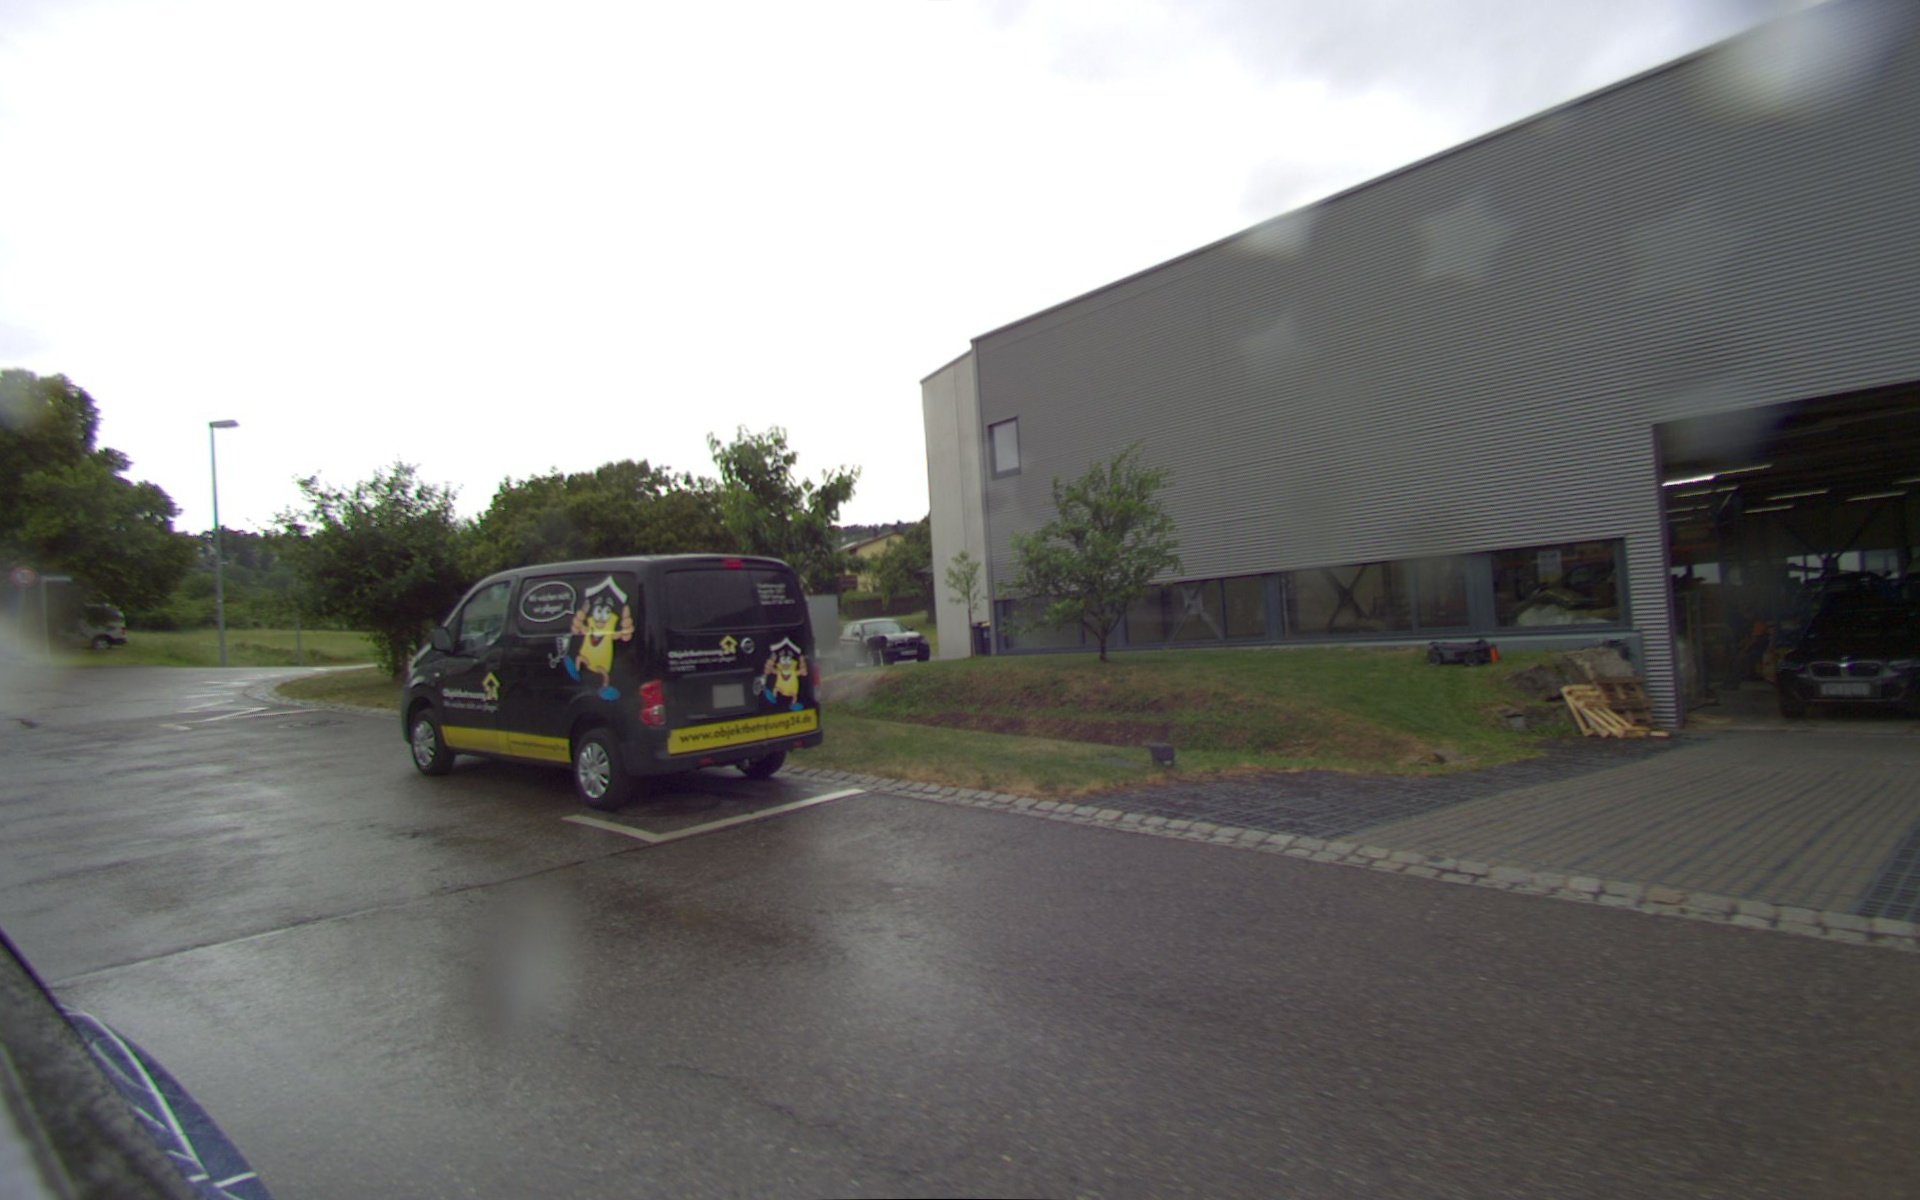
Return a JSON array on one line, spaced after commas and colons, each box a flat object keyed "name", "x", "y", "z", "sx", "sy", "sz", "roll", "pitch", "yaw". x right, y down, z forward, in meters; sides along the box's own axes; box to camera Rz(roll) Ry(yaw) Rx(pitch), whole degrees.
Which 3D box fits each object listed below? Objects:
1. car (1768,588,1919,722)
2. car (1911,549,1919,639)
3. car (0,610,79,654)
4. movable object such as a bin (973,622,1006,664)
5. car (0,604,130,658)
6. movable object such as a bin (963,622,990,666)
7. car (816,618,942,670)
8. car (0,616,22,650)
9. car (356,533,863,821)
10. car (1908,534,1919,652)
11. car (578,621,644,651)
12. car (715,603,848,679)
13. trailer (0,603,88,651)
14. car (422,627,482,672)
[{"name": "car", "x": 14.119, "y": 0.748, "z": 15.404, "sx": 4.157, "sy": 1.786, "sz": 1.937, "roll": -1, "pitch": -3, "yaw": -40}, {"name": "car", "x": 27.724, "y": -0.085, "z": 27.331, "sx": 4.153, "sy": 2.763, "sz": 1.848, "roll": -2, "pitch": -3, "yaw": -33}, {"name": "car", "x": -38.544, "y": 1.297, "z": 40.868, "sx": 1.749, "sy": 1.735, "sz": 4.163, "roll": -1, "pitch": 0, "yaw": 32}, {"name": "movable object such as a bin", "x": 0.775, "y": 1.150, "z": 27.133, "sx": 0.626, "sy": 1.105, "sz": 0.676, "roll": 0, "pitch": -2, "yaw": -26}, {"name": "car", "x": -34.247, "y": 1.132, "z": 38.217, "sx": 1.861, "sy": 1.920, "sz": 4.256, "roll": -1, "pitch": 0, "yaw": 40}, {"name": "movable object such as a bin", "x": 0.450, "y": 1.192, "z": 27.674, "sx": 0.547, "sy": 1.175, "sz": 0.569, "roll": 0, "pitch": -2, "yaw": -26}, {"name": "car", "x": -2.495, "y": 1.266, "z": 29.892, "sx": 1.965, "sy": 1.407, "sz": 4.705, "roll": 0, "pitch": -2, "yaw": -28}, {"name": "car", "x": -46.913, "y": 1.641, "z": 47.022, "sx": 1.802, "sy": 1.601, "sz": 4.578, "roll": -1, "pitch": 2, "yaw": 35}, {"name": "car", "x": -3.237, "y": 0.522, "z": 8.760, "sx": 4.843, "sy": 1.845, "sz": 1.897, "roll": -1, "pitch": 0, "yaw": 39}, {"name": "car", "x": 23.202, "y": -0.234, "z": 21.864, "sx": 5.609, "sy": 2.619, "sz": 2.127, "roll": -2, "pitch": -3, "yaw": -28}, {"name": "car", "x": -26.828, "y": 2.783, "z": 77.864, "sx": 4.427, "sy": 2.237, "sz": 1.935, "roll": 1, "pitch": -2, "yaw": -33}, {"name": "car", "x": -5.344, "y": 1.247, "z": 29.533, "sx": 2.099, "sy": 1.936, "sz": 5.627, "roll": -2, "pitch": -3, "yaw": -28}, {"name": "trailer", "x": -40.322, "y": 1.157, "z": 43.383, "sx": 1.770, "sy": 1.999, "sz": 4.176, "roll": -1, "pitch": 0, "yaw": 35}, {"name": "car", "x": -22.858, "y": 2.261, "z": 45.474, "sx": 1.966, "sy": 1.767, "sz": 4.395, "roll": 0, "pitch": -5, "yaw": -33}]
